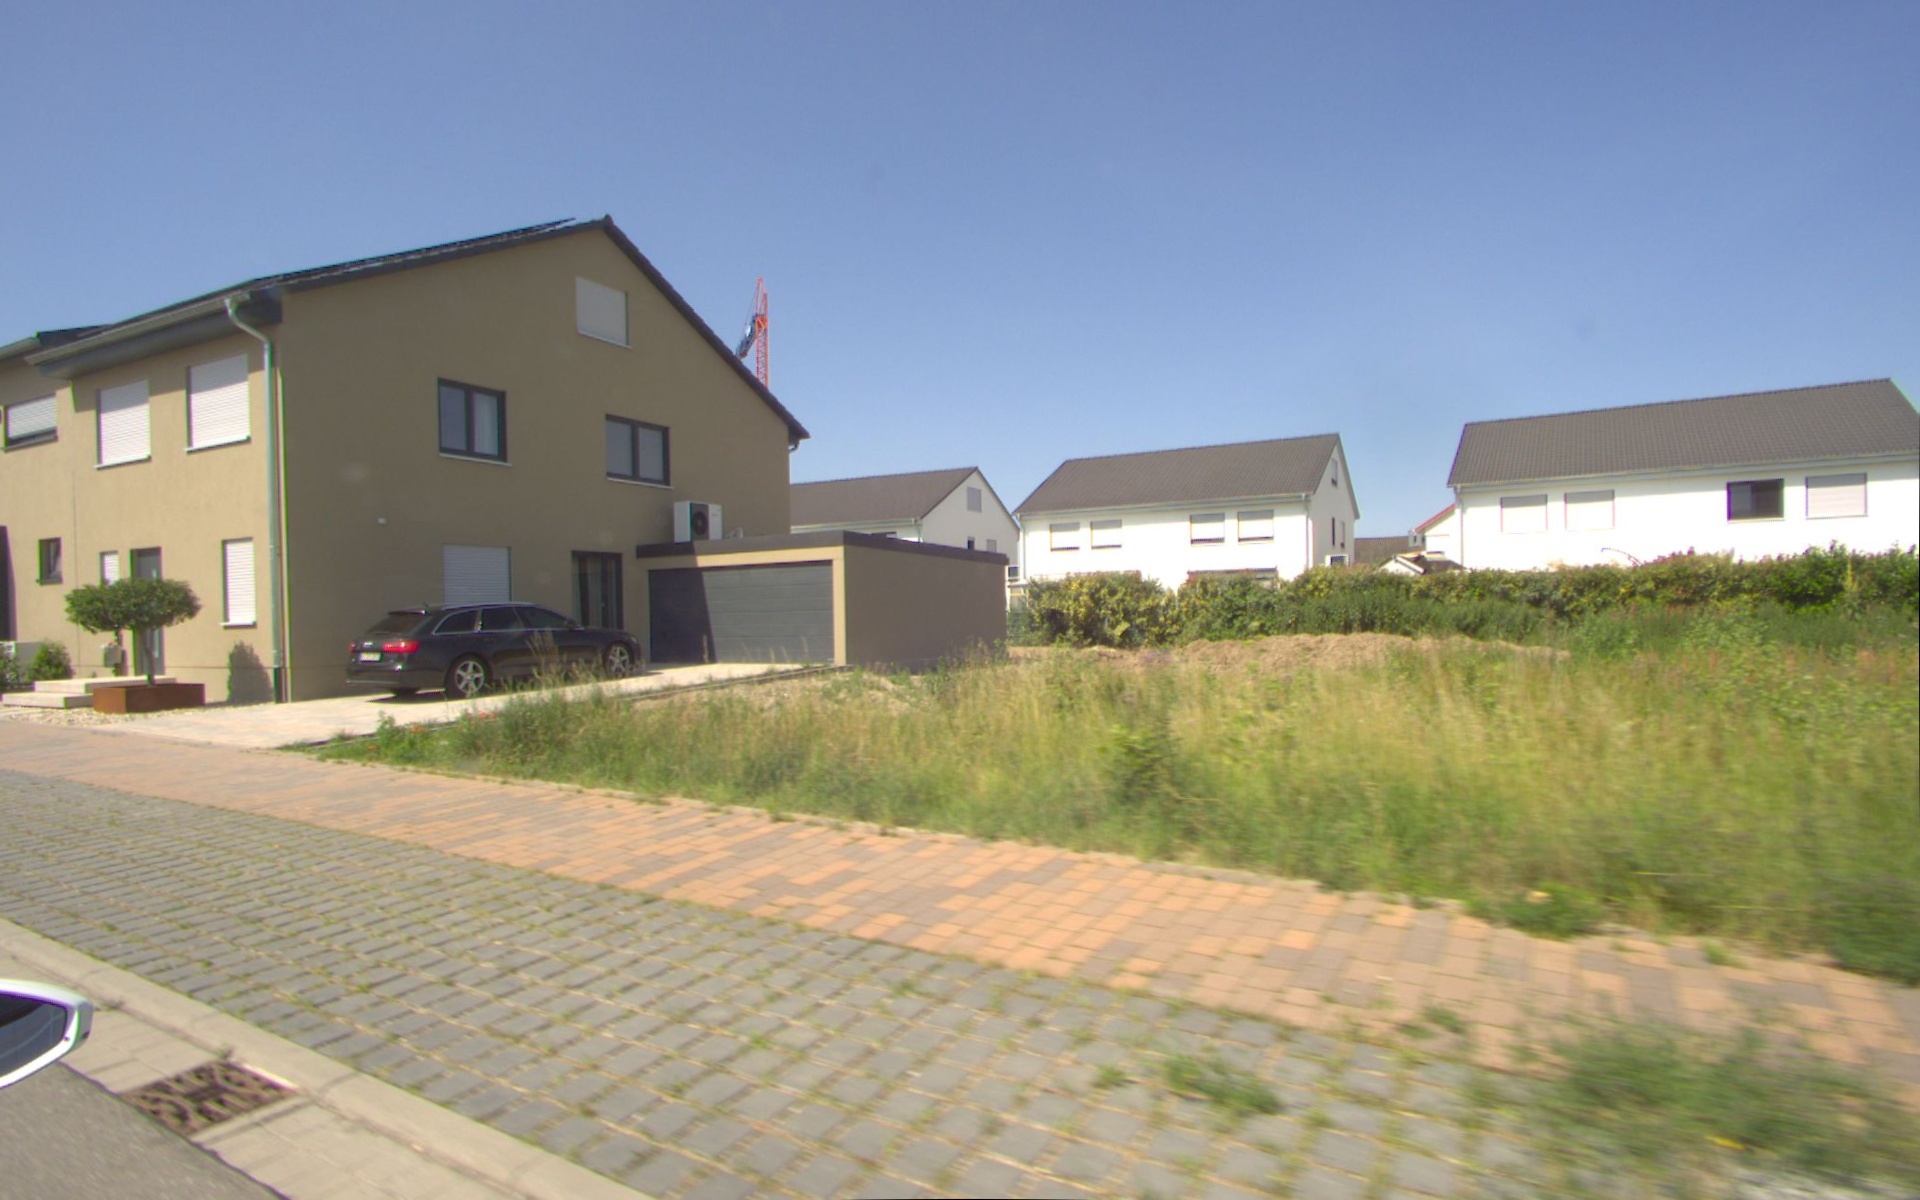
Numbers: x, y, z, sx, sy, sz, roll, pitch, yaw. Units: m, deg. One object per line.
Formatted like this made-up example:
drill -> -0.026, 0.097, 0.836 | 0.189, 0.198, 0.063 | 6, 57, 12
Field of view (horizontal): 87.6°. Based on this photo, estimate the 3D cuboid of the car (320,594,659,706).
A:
car -> -7.625, 0.712, 16.809 | 1.970, 1.445, 4.878 | 0, 2, 30
